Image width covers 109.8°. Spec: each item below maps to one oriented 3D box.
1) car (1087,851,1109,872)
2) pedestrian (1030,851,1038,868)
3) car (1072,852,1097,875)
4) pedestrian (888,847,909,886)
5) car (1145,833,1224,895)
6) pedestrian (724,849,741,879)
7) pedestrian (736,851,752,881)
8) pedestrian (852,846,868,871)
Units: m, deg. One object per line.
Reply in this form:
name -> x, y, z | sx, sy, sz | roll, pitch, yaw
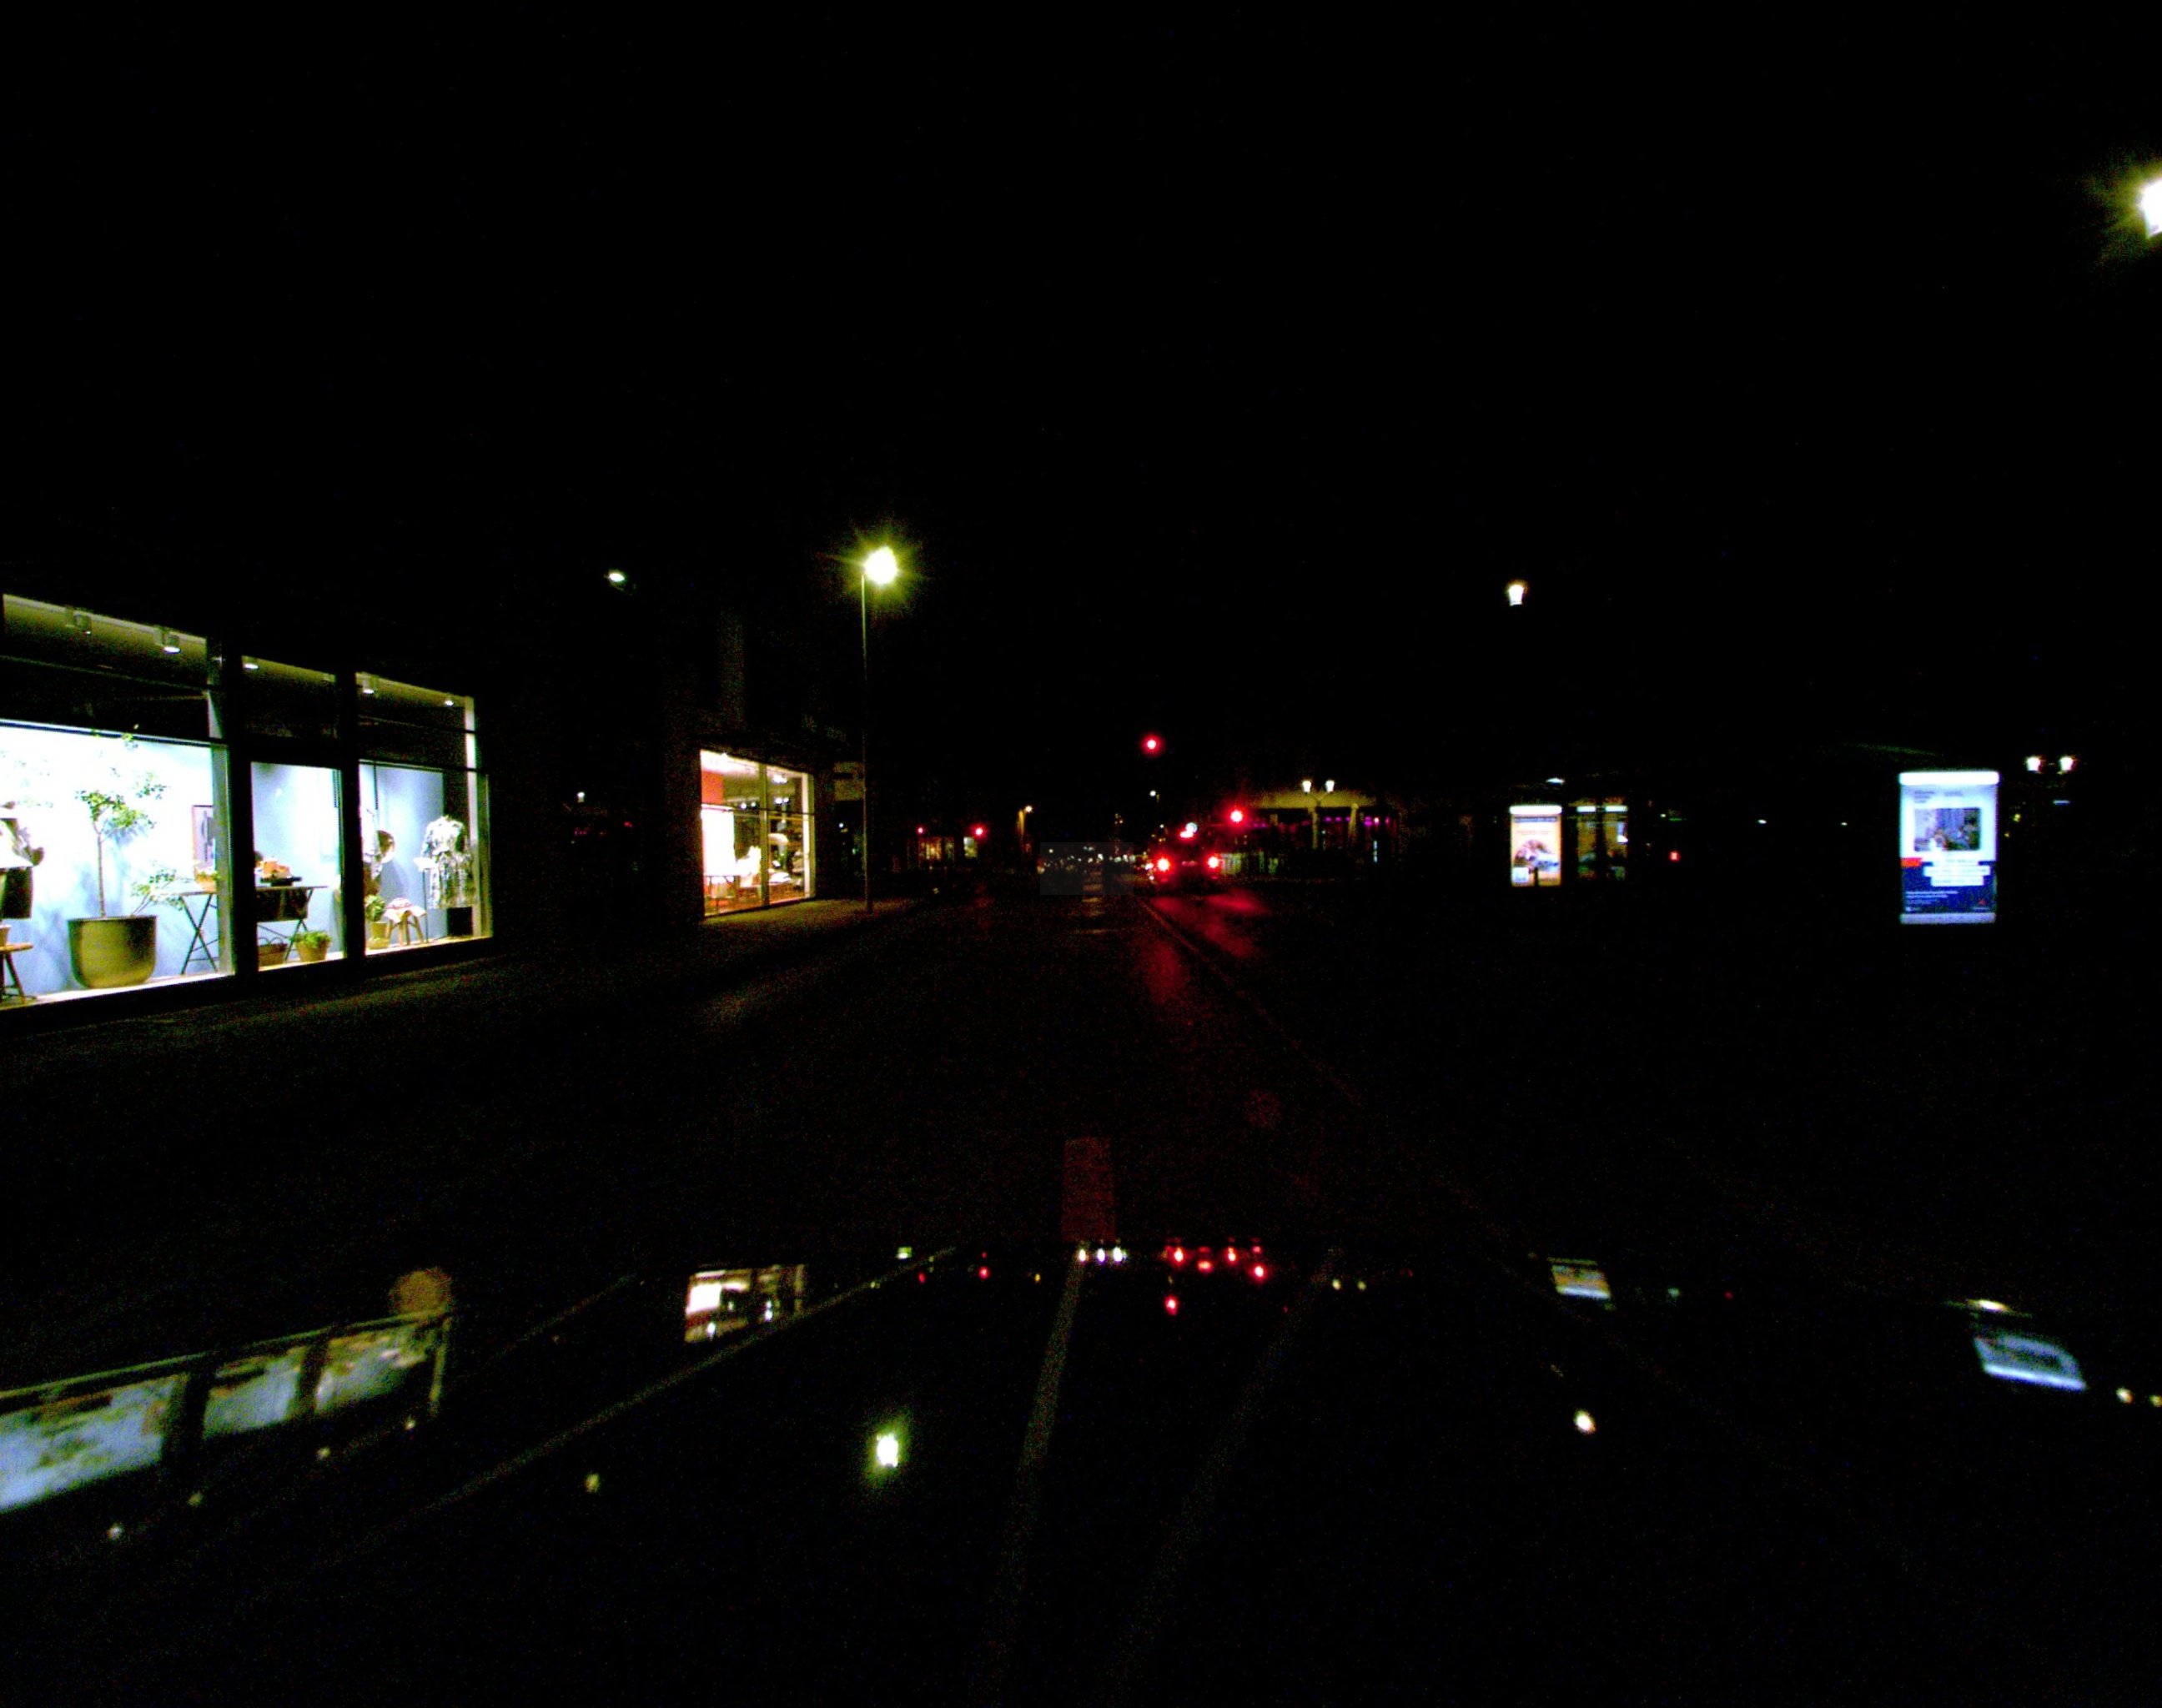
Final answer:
car -> 1.506, 0.636, 68.500 | 1.879, 1.718, 3.999 | -2, 1, 1
pedestrian -> -4.235, 0.503, 69.070 | 0.647, 1.487, 0.830 | 0, 1, 2
car -> 0.272, 0.706, 60.270 | 1.713, 1.660, 3.738 | -2, 1, 3
pedestrian -> -7.890, 0.532, 32.808 | 0.539, 1.672, 0.648 | -2, 1, 23
car -> 3.412, 0.281, 25.954 | 1.972, 1.861, 4.911 | -1, 1, 0
pedestrian -> -20.202, 0.555, 44.061 | 0.567, 1.707, 0.567 | -2, 1, 7
pedestrian -> -19.283, 0.697, 43.452 | 0.524, 1.707, 0.567 | -2, 1, 7
pedestrian -> -15.149, 0.289, 52.121 | 0.877, 1.723, 0.647 | 0, 1, 4
